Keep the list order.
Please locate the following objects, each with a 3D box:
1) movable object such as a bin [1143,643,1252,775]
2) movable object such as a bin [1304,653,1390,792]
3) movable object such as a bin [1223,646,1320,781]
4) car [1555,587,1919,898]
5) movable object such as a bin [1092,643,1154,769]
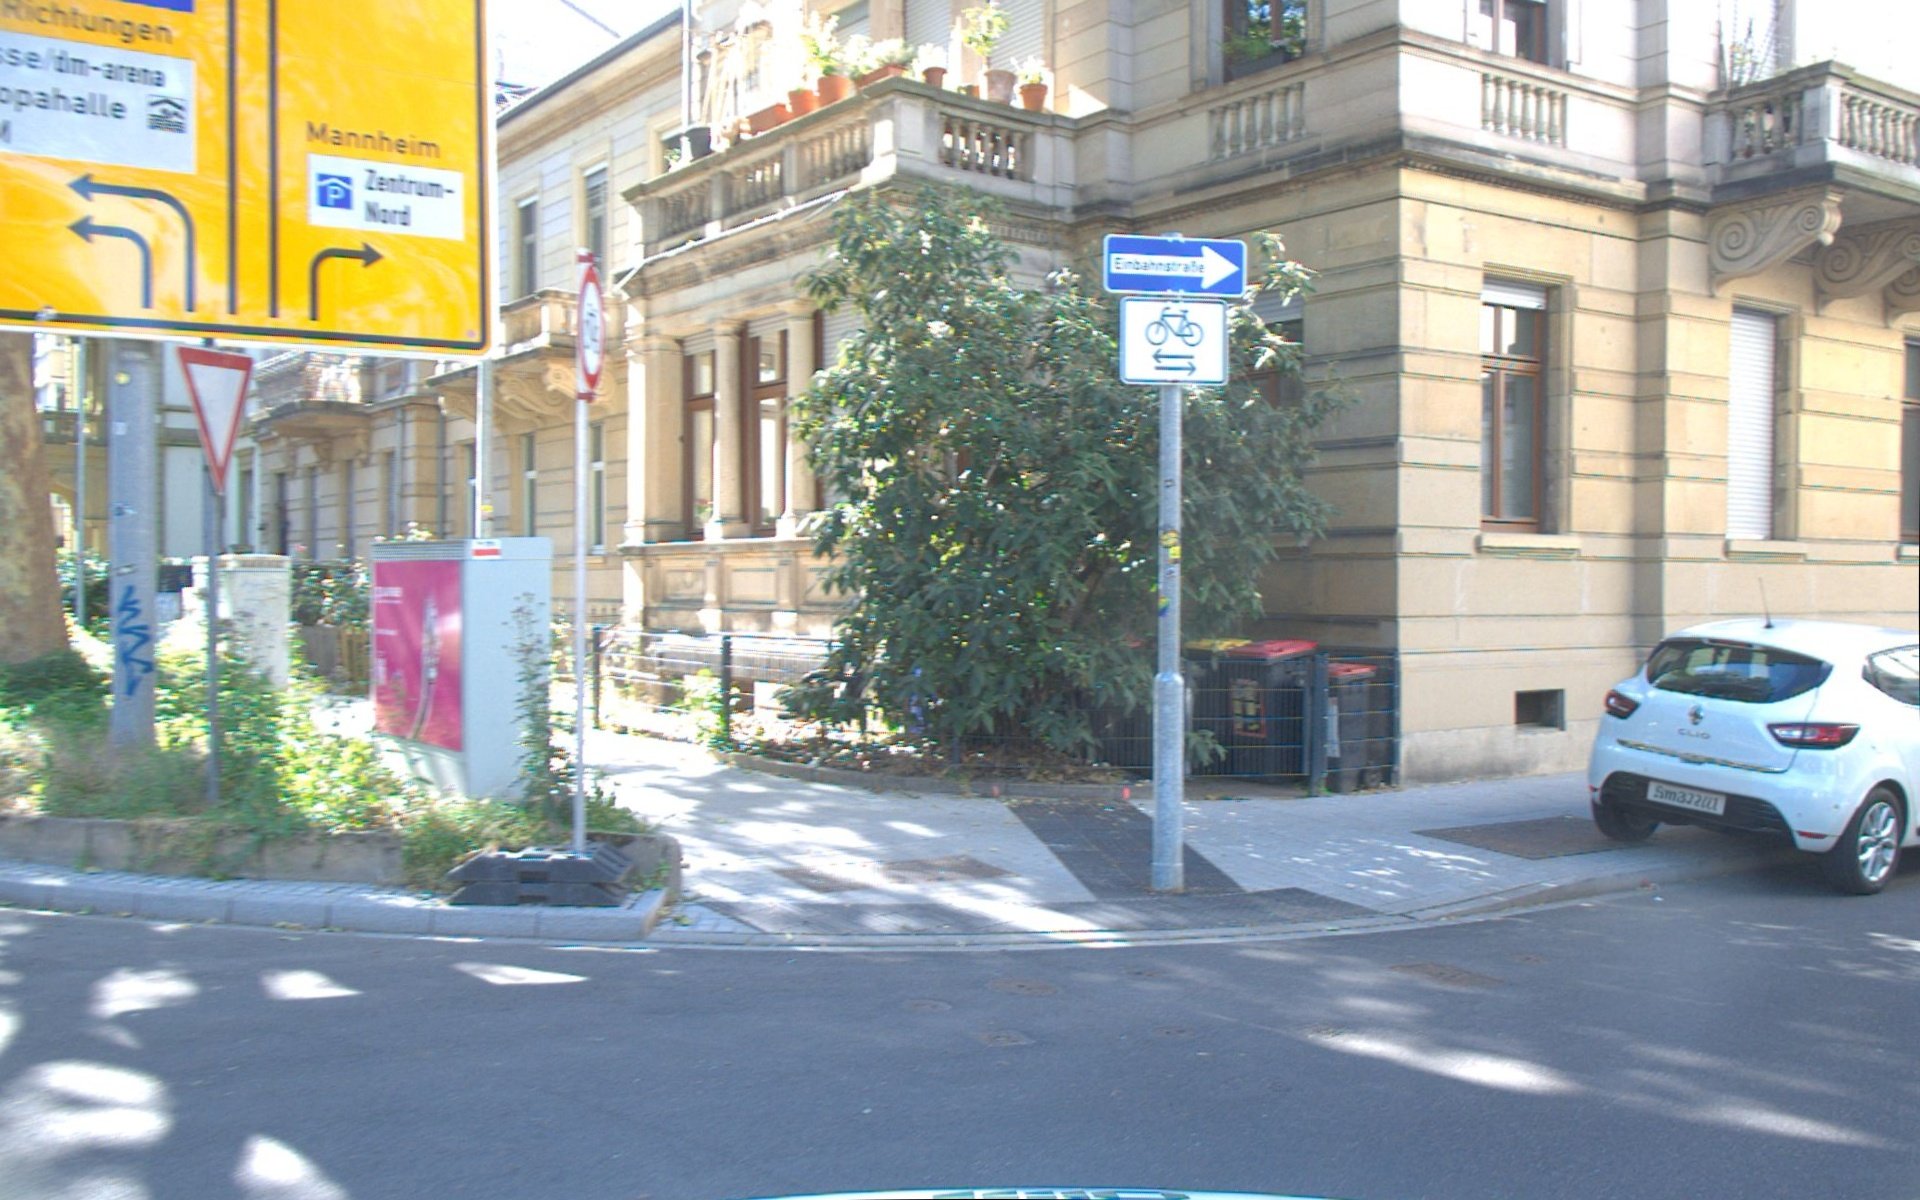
[{"bbox_3d":[1.895,0.850,13.194,0.681,0.987,0.541,0,0,-35],"label":"movable object such as a bin"},{"bbox_3d":[2.904,0.905,12.411,0.514,0.987,0.393,0,0,-35],"label":"movable object such as a bin"},{"bbox_3d":[2.410,0.866,12.814,0.514,0.987,0.541,0,0,-34],"label":"movable object such as a bin"},{"bbox_3d":[5.839,0.769,10.693,3.897,1.588,1.850,1,2,-36],"label":"car"},{"bbox_3d":[1.323,0.848,13.445,0.341,0.987,0.377,0,0,-34],"label":"movable object such as a bin"}]
